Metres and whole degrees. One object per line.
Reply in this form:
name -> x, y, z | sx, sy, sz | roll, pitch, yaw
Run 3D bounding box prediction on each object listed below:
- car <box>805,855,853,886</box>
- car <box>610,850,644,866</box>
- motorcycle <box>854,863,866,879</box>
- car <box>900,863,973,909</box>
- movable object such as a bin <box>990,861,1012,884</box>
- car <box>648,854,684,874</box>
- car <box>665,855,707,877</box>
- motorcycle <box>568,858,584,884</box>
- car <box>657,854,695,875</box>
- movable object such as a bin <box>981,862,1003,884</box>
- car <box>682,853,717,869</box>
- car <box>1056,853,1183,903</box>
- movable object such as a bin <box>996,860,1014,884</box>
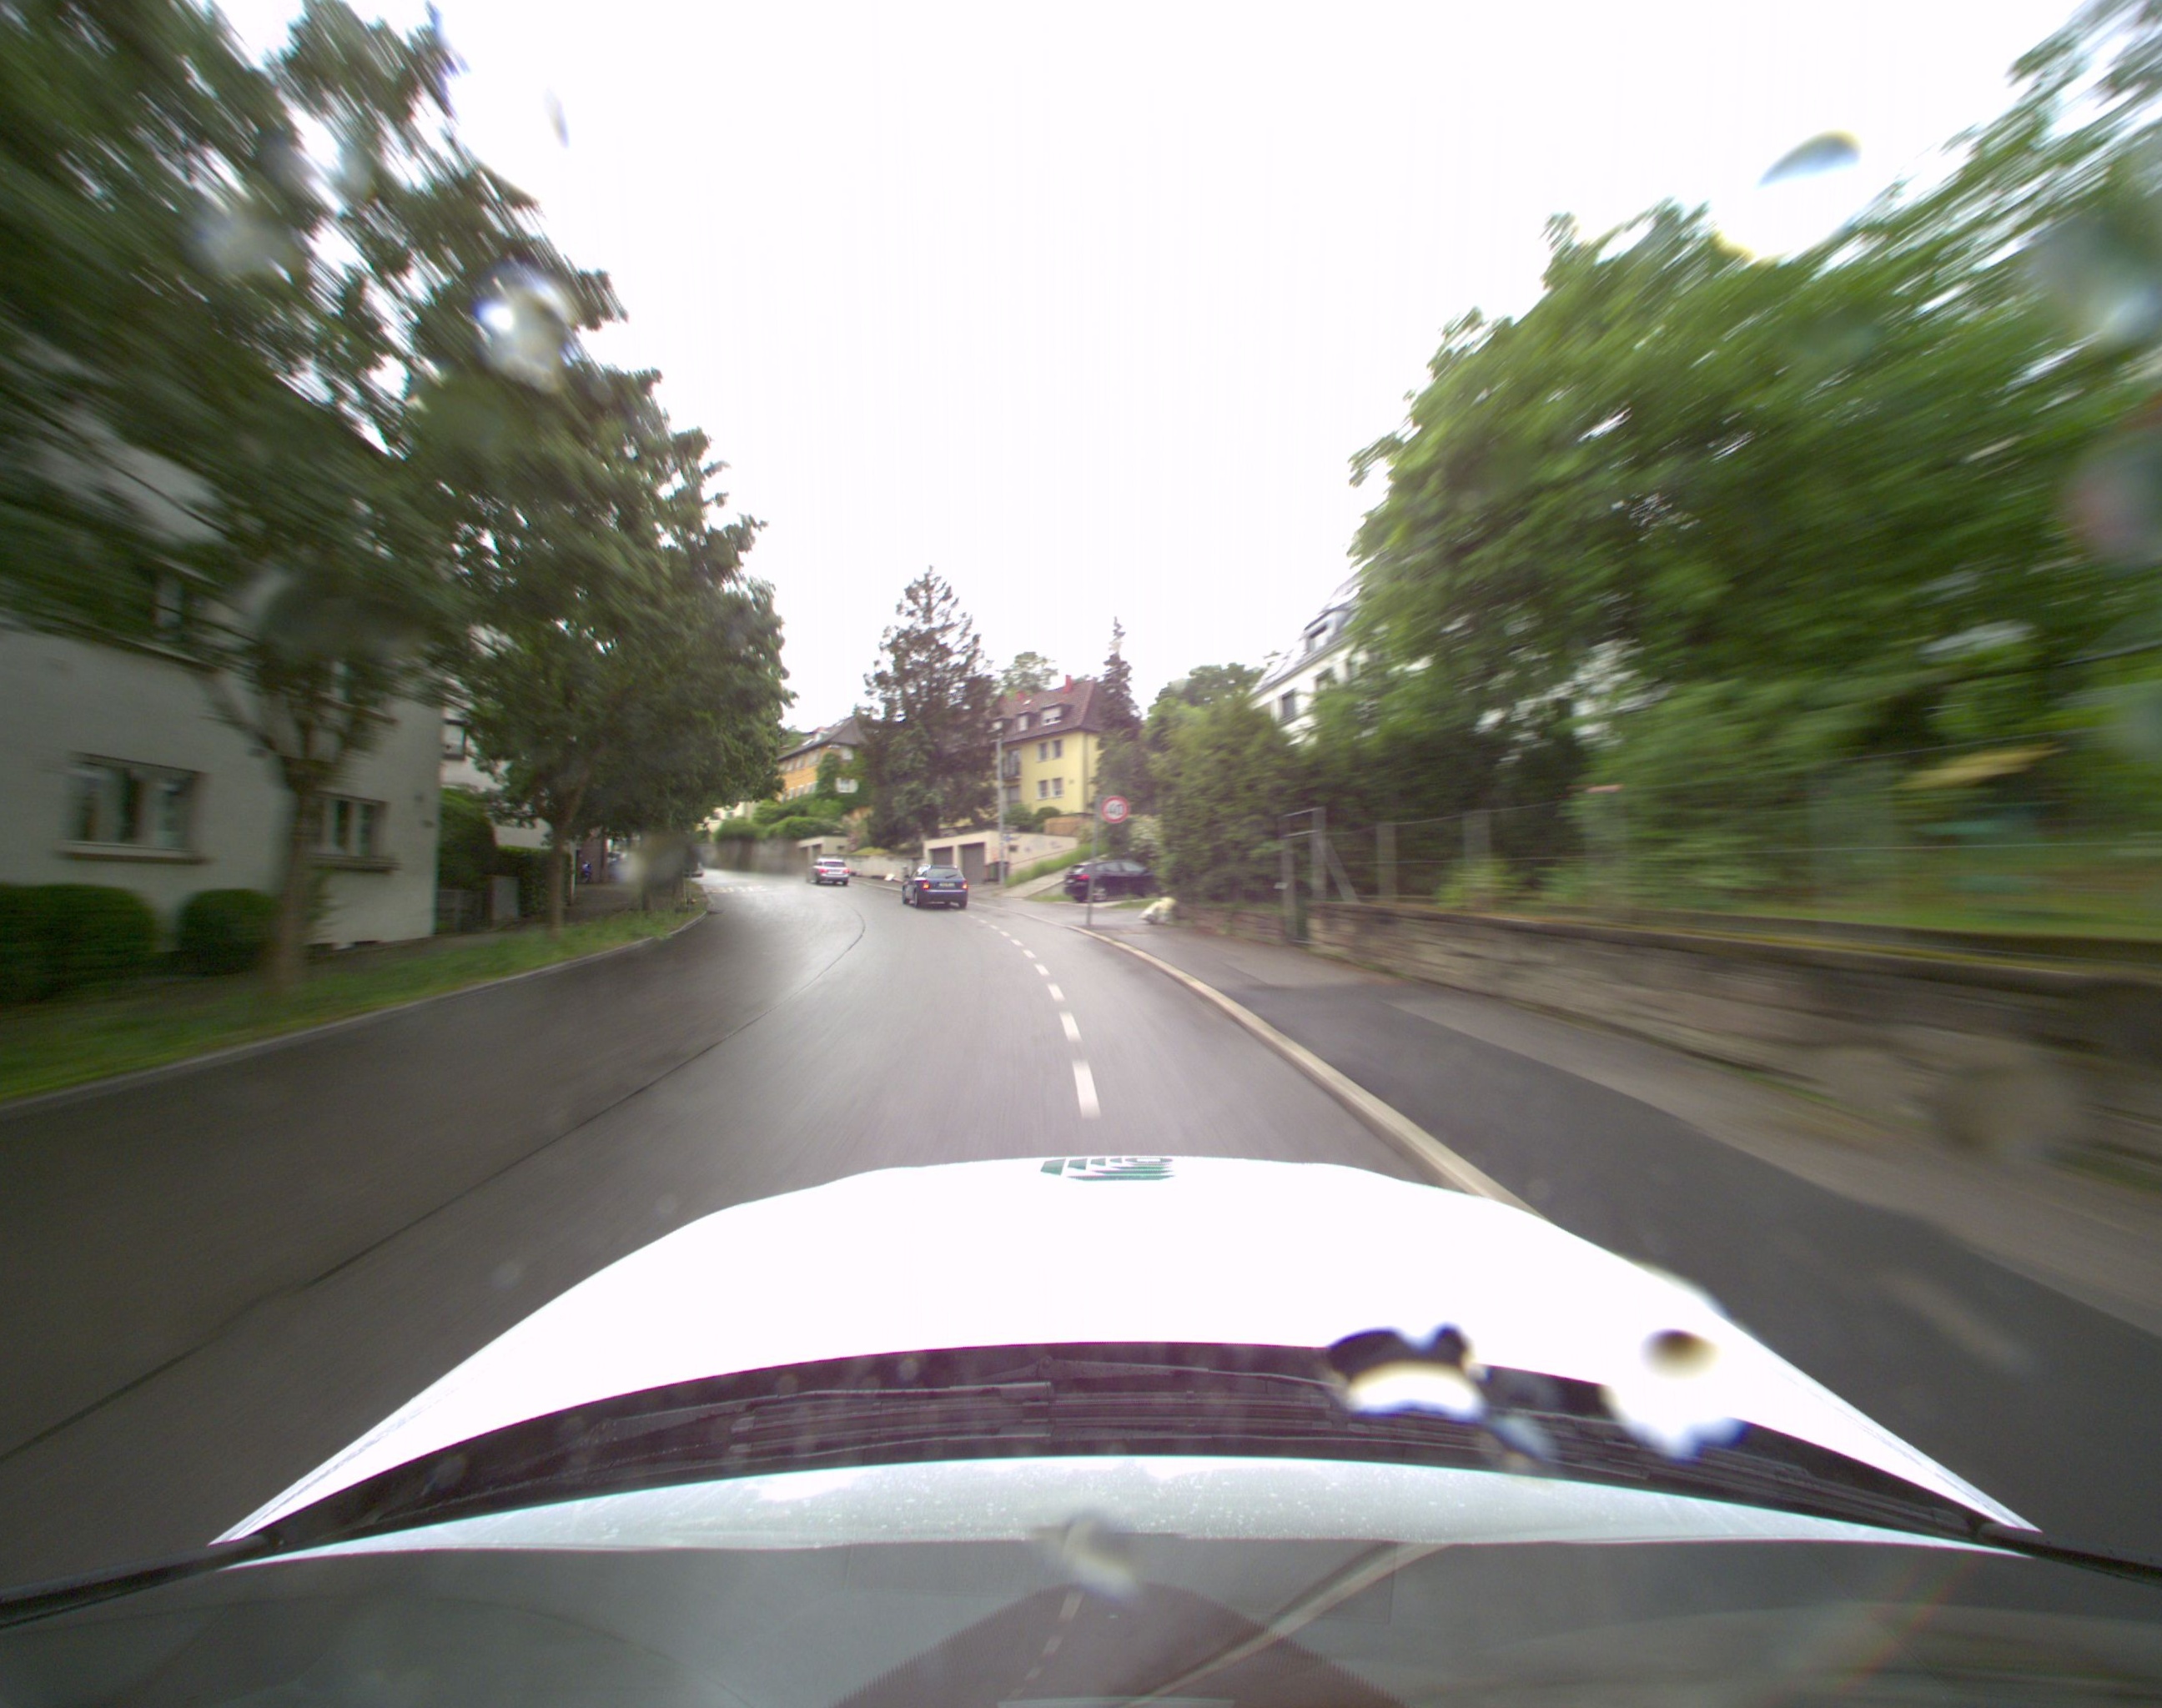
car -> -14.527, 0.921, 46.845 | 1.960, 1.561, 4.227 | 2, 1, -26
car -> -43.660, 0.422, 78.323 | 2.011, 1.475, 3.952 | -1, 0, -42
motorcycle -> -15.634, 1.205, 57.488 | 0.551, 1.131, 1.428 | 0, 0, -26
car -> -5.138, 1.046, 28.458 | 1.860, 1.414, 4.333 | -1, 0, -19
movable object such as a bin -> -4.205, 0.963, 42.740 | 0.867, 1.185, 0.778 | -1, 0, -42
car -> -34.388, 0.834, 67.461 | 2.009, 1.574, 3.955 | -1, 0, -37
car -> -28.644, 0.872, 58.974 | 2.009, 1.530, 3.955 | 0, 0, -37
motorcycle -> -24.514, 0.822, 39.539 | 0.618, 1.159, 1.682 | 2, 0, -31
car -> -31.349, 0.794, 62.986 | 1.893, 1.596, 3.955 | 0, 0, -37
movable object such as a bin -> -4.740, 0.995, 43.329 | 0.867, 1.142, 0.790 | -1, 0, -42
car -> -41.092, 0.755, 87.698 | 3.949, 1.684, 2.012 | 0, 0, 40
car -> 1.385, 0.828, 29.333 | 4.187, 1.508, 1.727 | -3, 0, -23
movable object such as a bin -> -3.934, 0.906, 42.079 | 0.708, 1.223, 0.574 | -1, 0, -43
